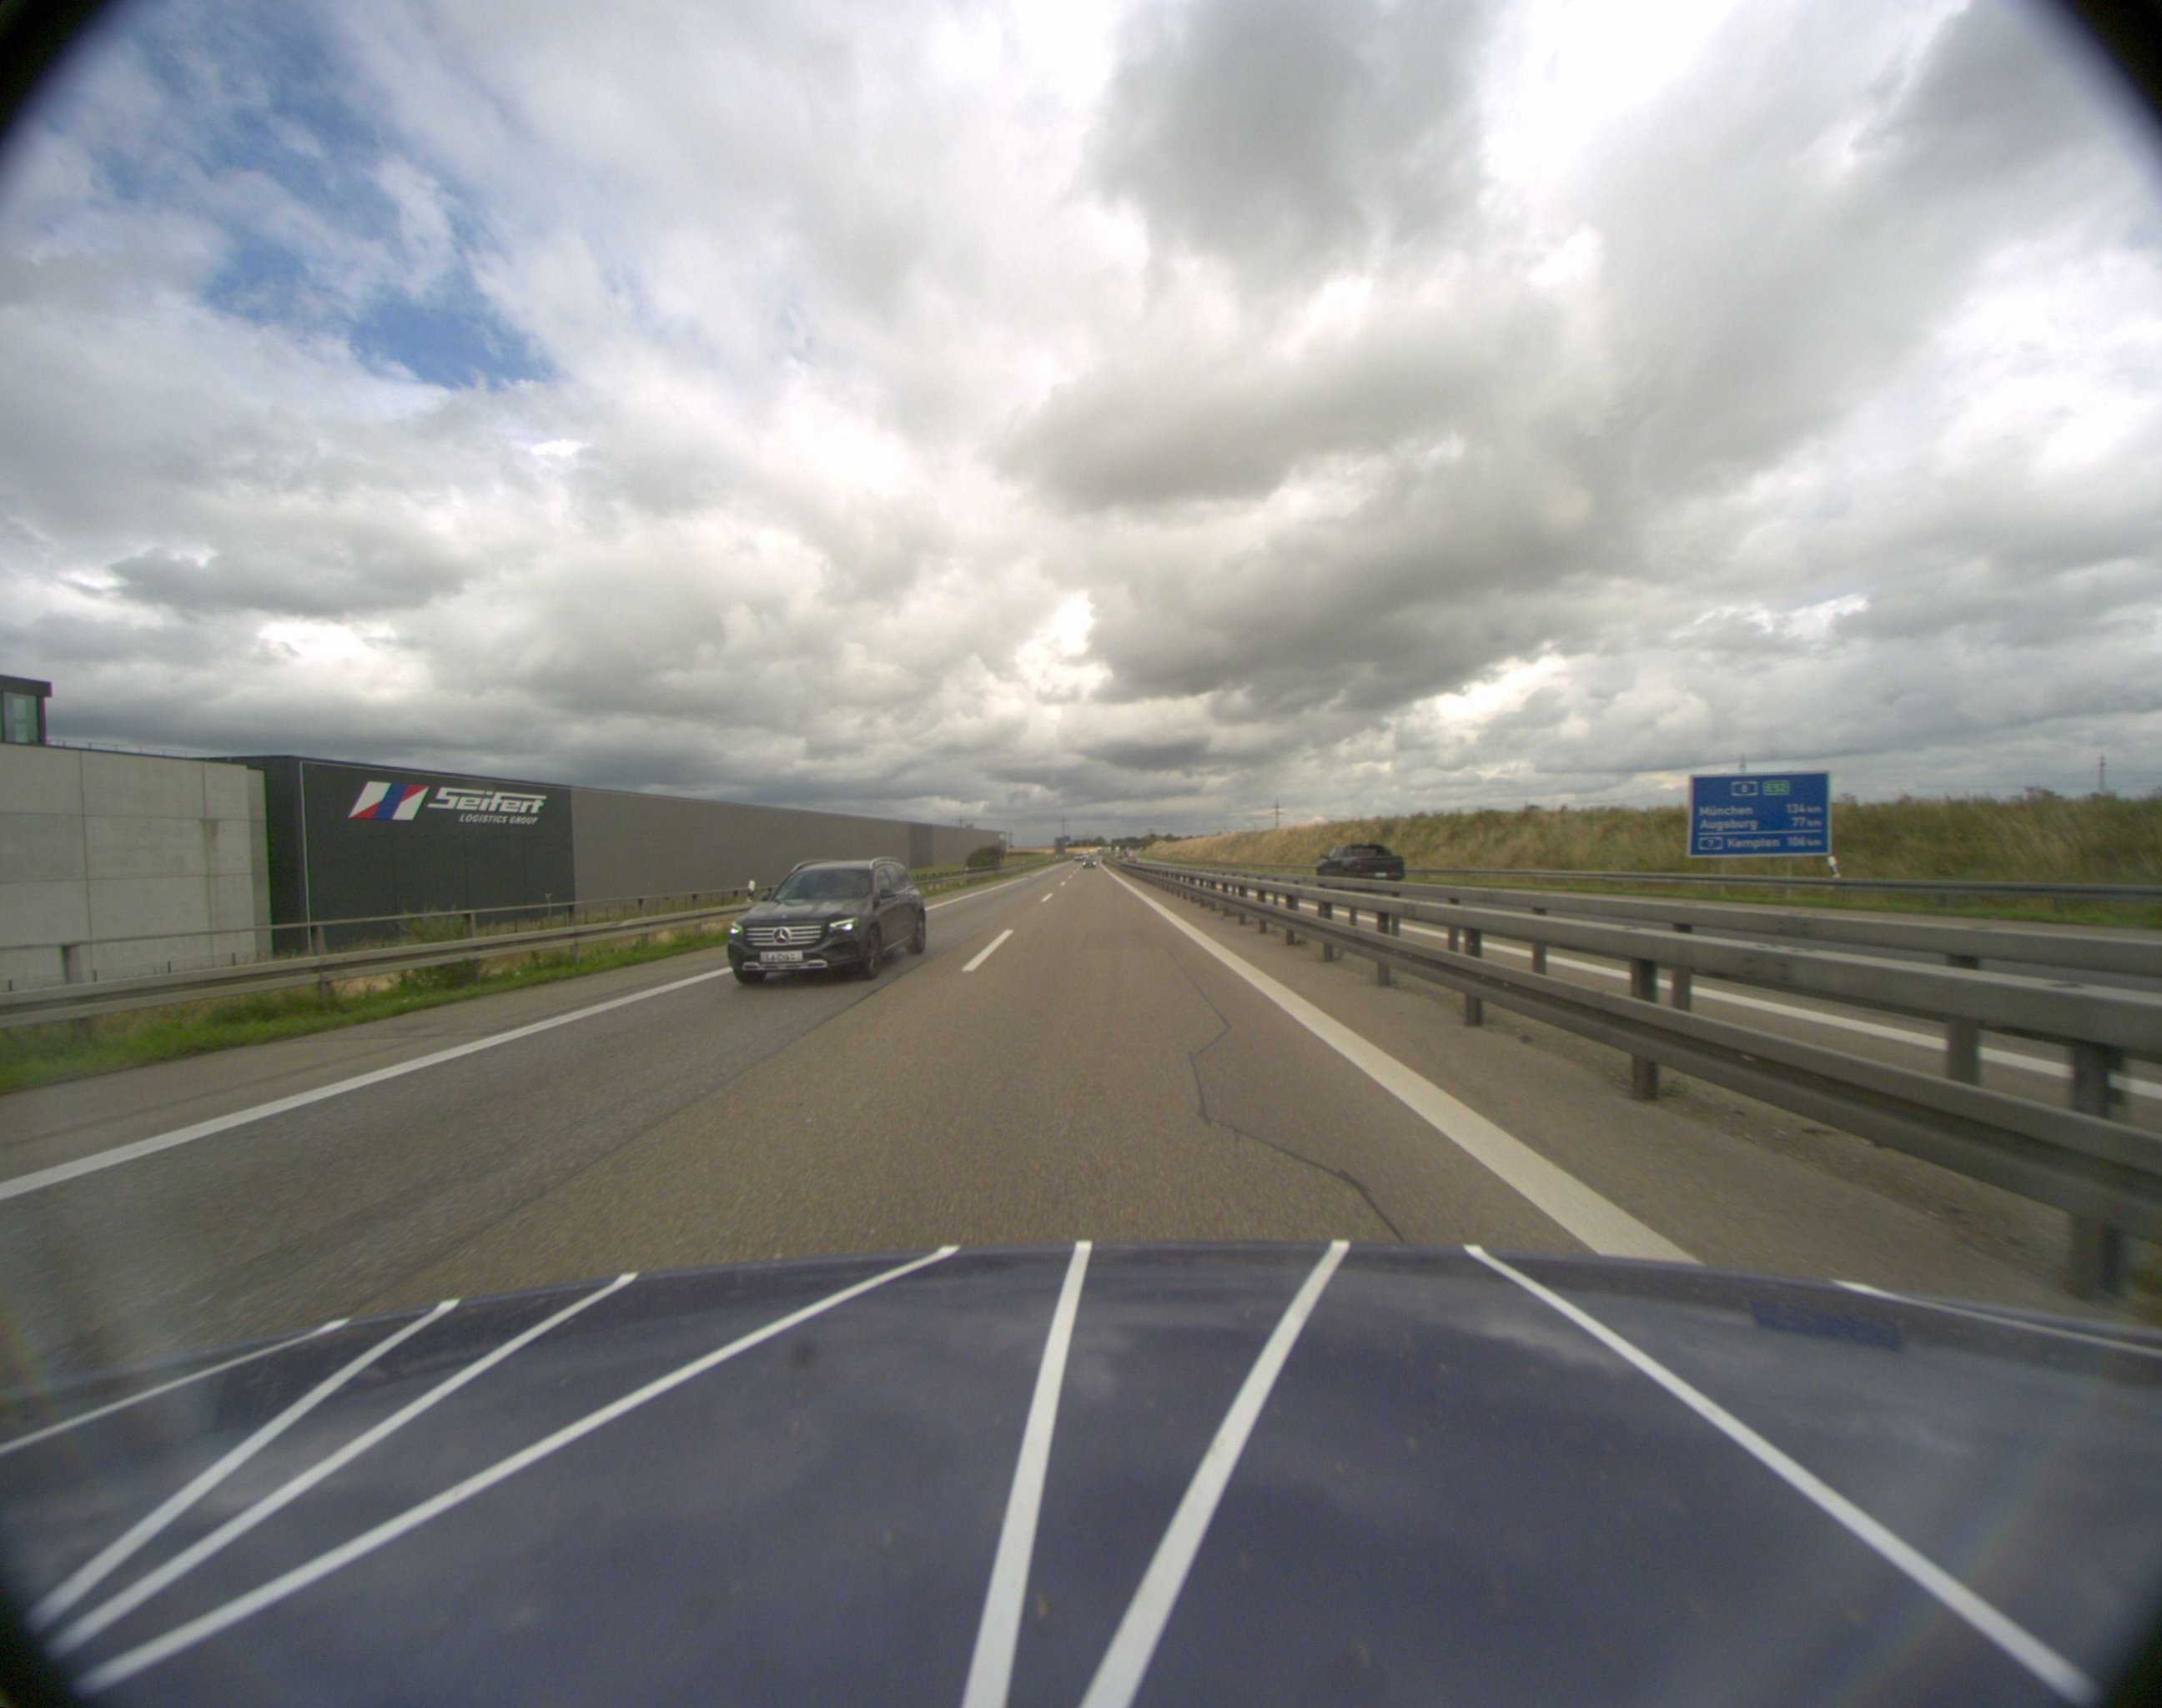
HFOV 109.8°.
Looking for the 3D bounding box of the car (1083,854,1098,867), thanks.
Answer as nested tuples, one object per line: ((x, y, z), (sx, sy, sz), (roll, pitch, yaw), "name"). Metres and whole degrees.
((1.374, 0.949, 107.490), (1.998, 1.696, 4.662), (-3, 0, 1), "car")

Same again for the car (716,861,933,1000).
((-3.644, 0.986, 11.728), (1.838, 1.600, 4.359), (-1, 1, 0), "car")

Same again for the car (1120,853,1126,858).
((14.022, 0.408, 252.760), (1.845, 1.567, 4.001), (-1, 1, 6), "car")

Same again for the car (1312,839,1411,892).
((11.717, 0.446, 32.270), (1.998, 2.002, 6.102), (-1, 0, 1), "car")

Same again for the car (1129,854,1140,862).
((10.833, 0.757, 154.337), (1.911, 1.504, 4.729), (-1, 1, 1), "car")
